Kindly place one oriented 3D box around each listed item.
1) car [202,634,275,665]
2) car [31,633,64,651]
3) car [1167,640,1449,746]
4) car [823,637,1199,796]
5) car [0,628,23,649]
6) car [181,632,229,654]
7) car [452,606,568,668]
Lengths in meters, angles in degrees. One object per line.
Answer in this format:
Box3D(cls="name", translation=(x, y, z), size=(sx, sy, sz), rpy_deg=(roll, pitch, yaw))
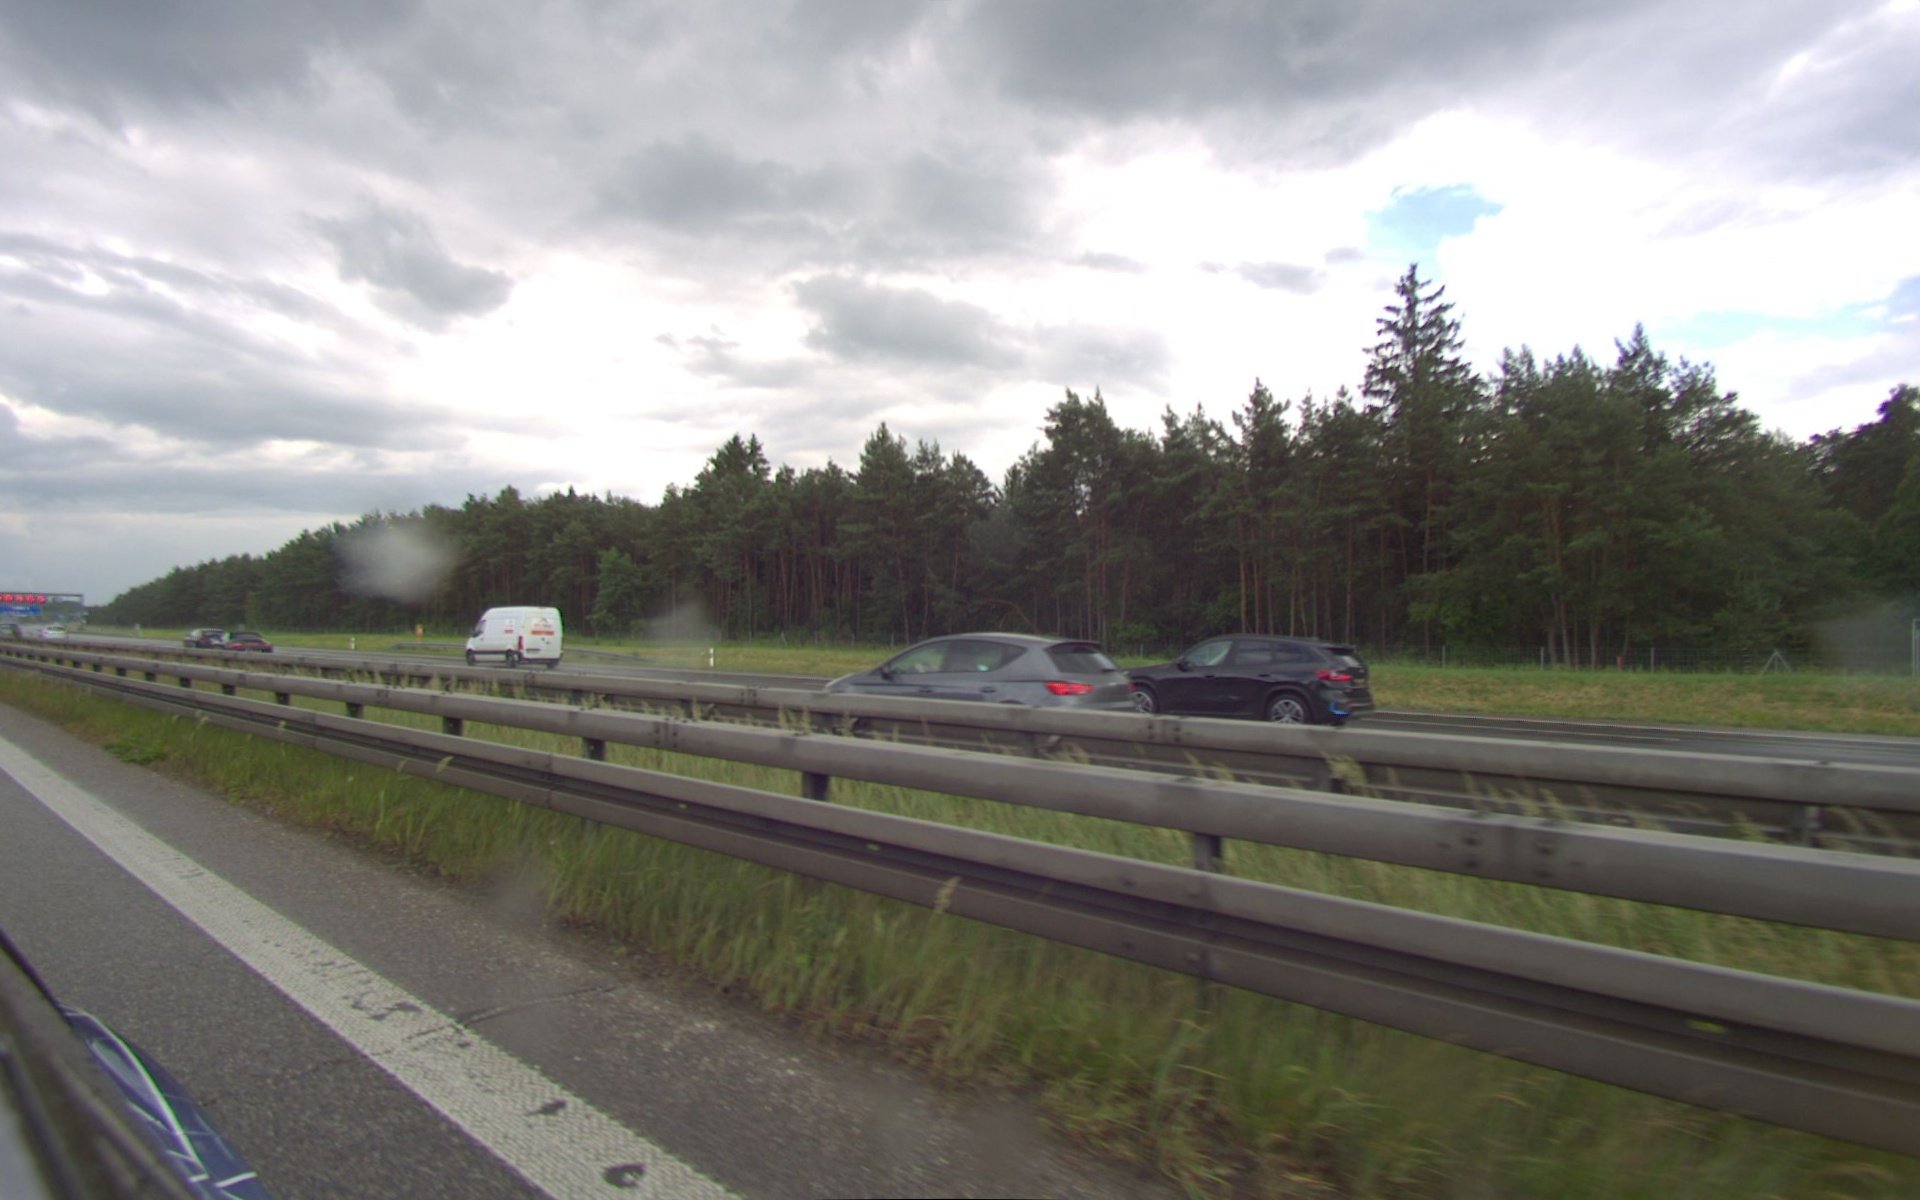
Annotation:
Box3D(cls="car", translation=(-32.990, 2.255, 46.207), size=(4.665, 1.335, 1.680), rpy_deg=(-1, -3, 42))
Box3D(cls="car", translation=(-79.441, 3.638, 88.062), size=(3.999, 1.499, 1.680), rpy_deg=(-2, -3, 42))
Box3D(cls="car", translation=(5.638, 1.428, 16.622), size=(3.996, 1.483, 1.855), rpy_deg=(-1, -3, 40))
Box3D(cls="car", translation=(0.483, 1.170, 11.558), size=(3.996, 1.442, 1.856), rpy_deg=(-1, -2, 40))
Box3D(cls="car", translation=(-72.550, 2.884, 76.774), size=(3.998, 1.551, 1.752), rpy_deg=(-2, -3, 42))
Box3D(cls="car", translation=(-48.944, 2.756, 65.566), size=(4.256, 1.369, 1.680), rpy_deg=(-2, -2, 41))
Box3D(cls="car", translation=(-19.933, 1.626, 44.684), size=(6.581, 2.530, 2.076), rpy_deg=(-1, -4, 42))
